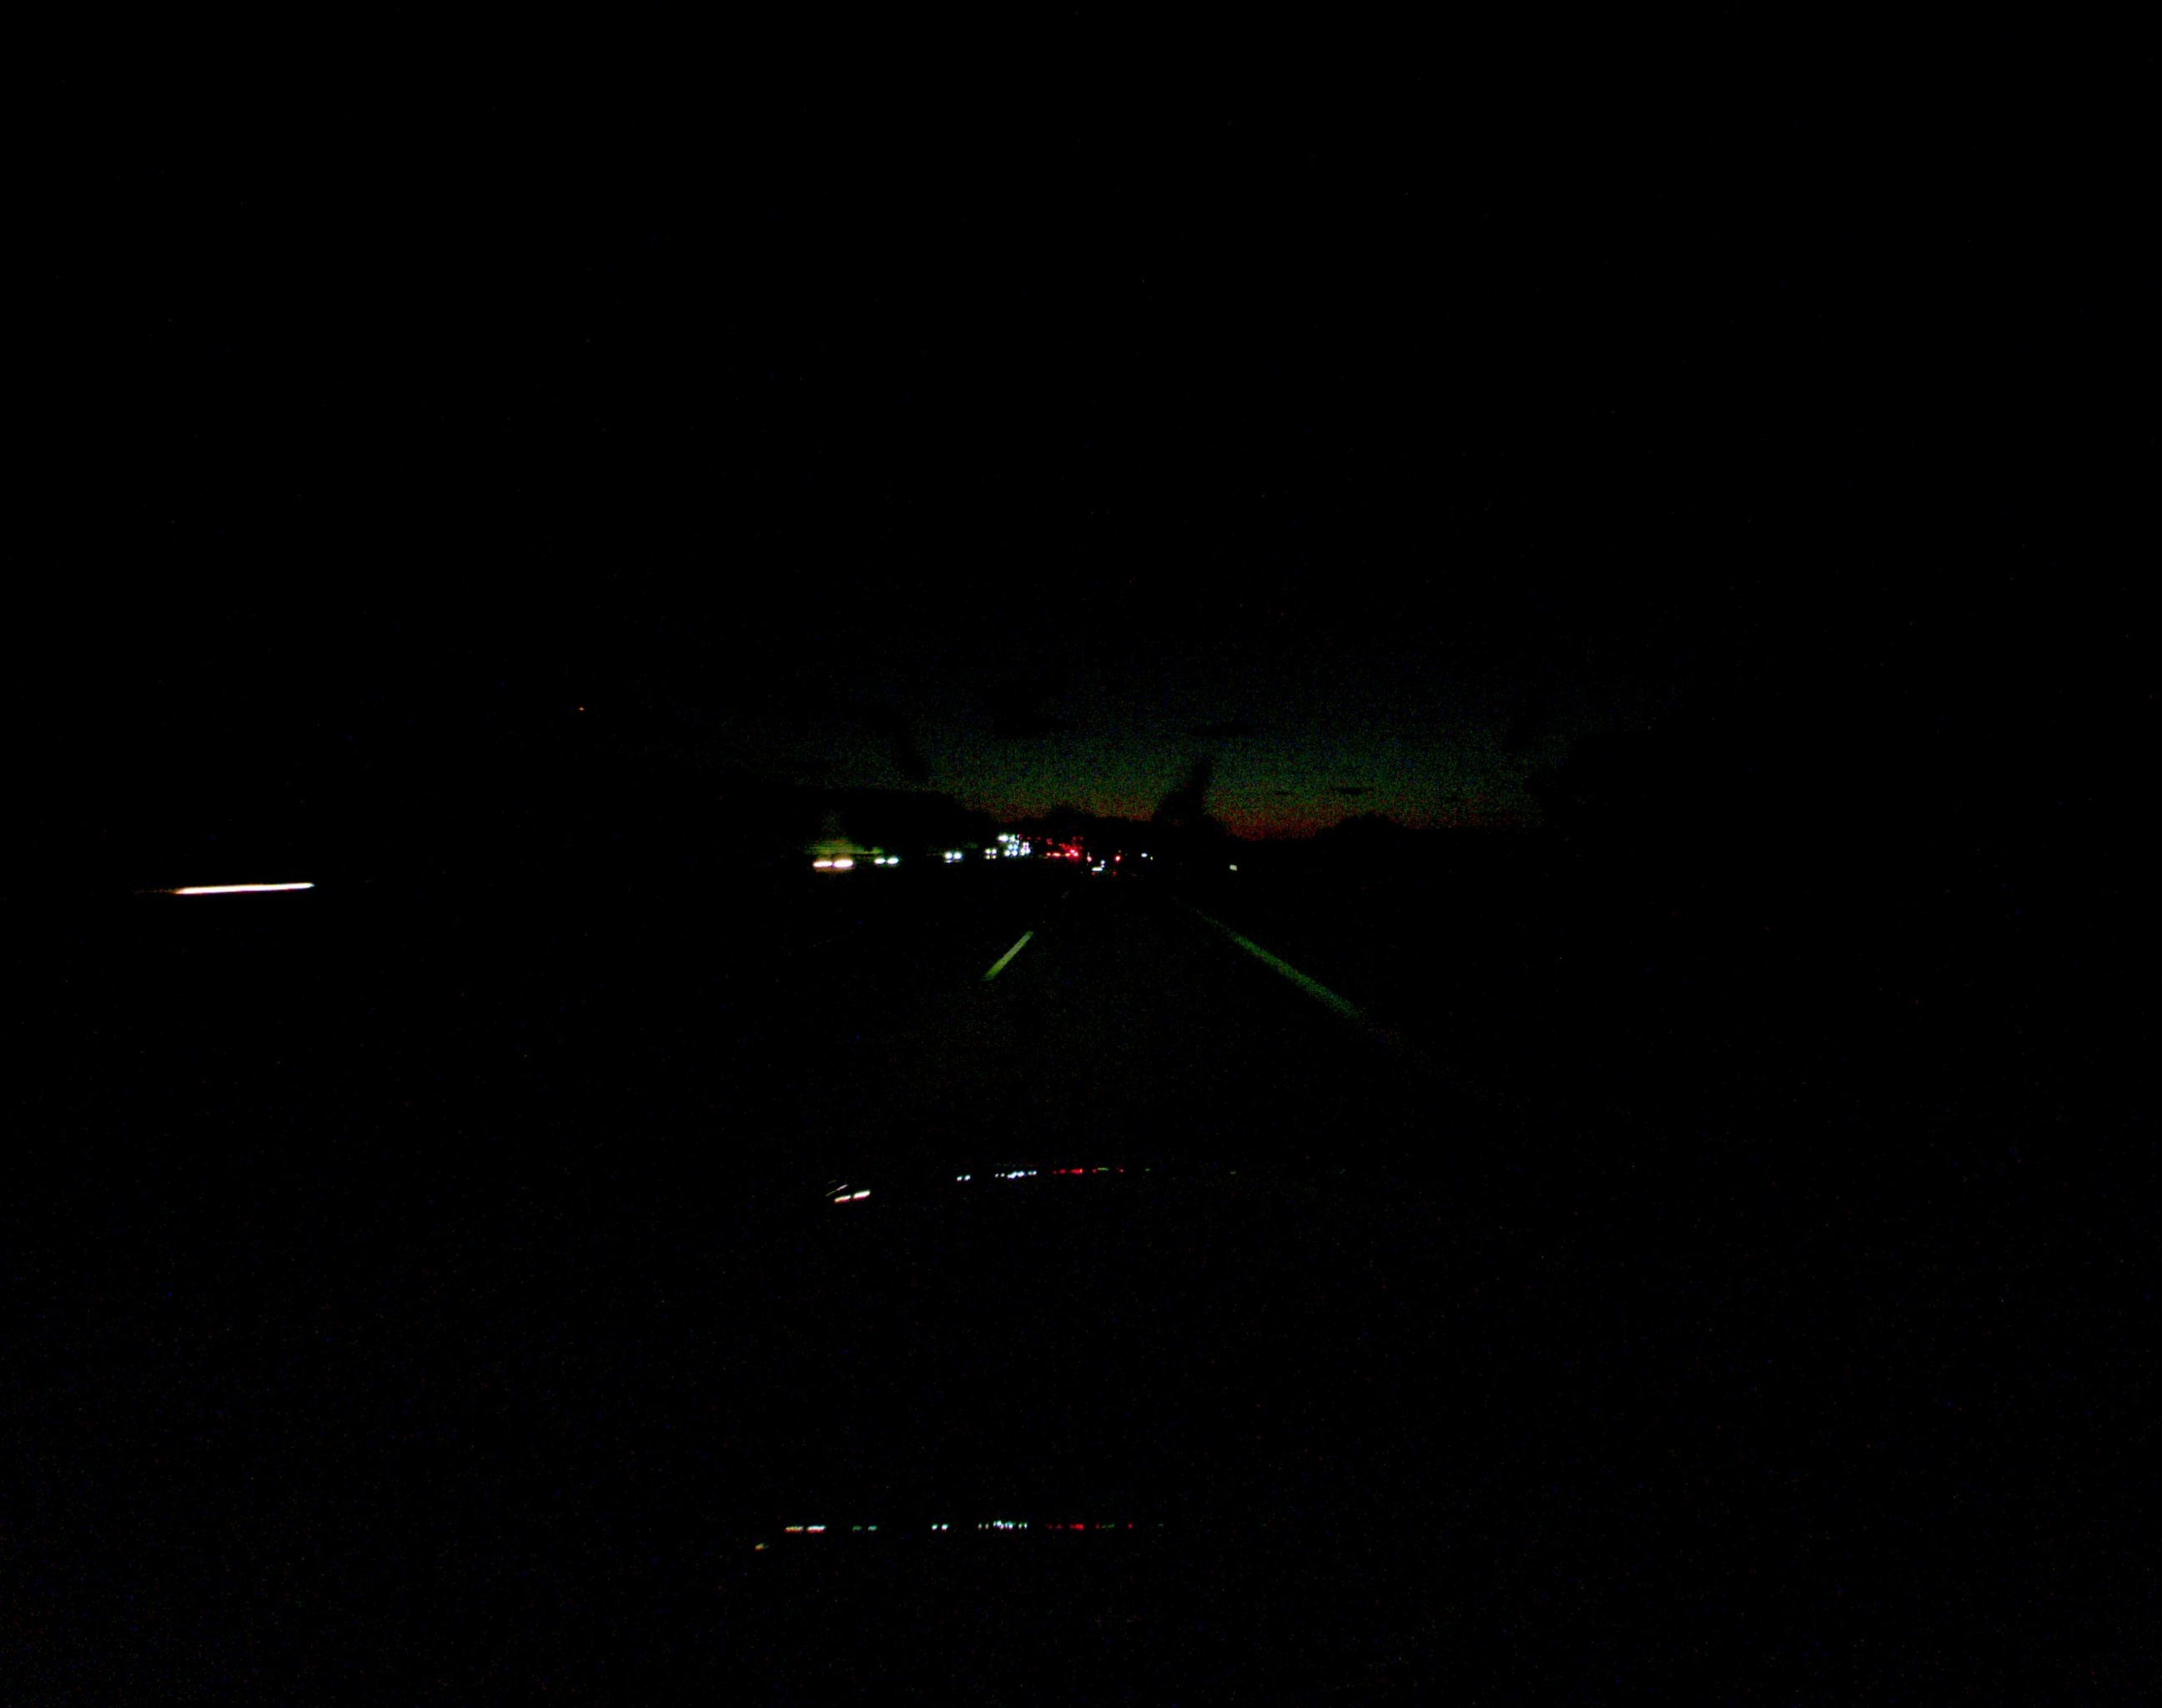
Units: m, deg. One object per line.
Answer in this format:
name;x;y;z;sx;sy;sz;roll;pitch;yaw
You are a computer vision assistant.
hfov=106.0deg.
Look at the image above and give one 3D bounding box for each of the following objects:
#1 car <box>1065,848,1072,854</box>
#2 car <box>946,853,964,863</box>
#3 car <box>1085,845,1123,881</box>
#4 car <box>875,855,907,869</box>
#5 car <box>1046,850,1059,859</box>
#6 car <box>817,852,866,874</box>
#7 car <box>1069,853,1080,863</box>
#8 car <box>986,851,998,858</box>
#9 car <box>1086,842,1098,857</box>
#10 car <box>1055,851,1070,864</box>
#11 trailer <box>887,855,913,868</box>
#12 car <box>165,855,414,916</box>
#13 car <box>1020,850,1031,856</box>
car;-3.847;-0.905;249.335;1.988;1.794;3.998;0;-1;-1
car;-20.568;0.676;133.401;2.111;1.555;5.109;0;0;0
car;1.319;0.465;49.178;2.108;2.000;5.664;1;1;0
car;-20.782;0.834;89.082;2.176;1.481;5.243;1;0;1
car;-5.148;0.031;148.832;2.164;1.667;4.885;0;0;-1
car;-17.701;0.620;60.439;2.111;1.555;5.109;0;0;0
car;-1.215;0.720;154.953;1.986;1.794;4.002;0;-1;2
car;-20.936;0.107;192.249;2.047;1.781;5.941;0;0;0
car;1.948;-0.843;145.251;2.026;2.646;5.724;0;1;0
car;-2.602;0.470;113.101;1.988;1.816;3.997;0;-1;-2
trailer;-20.719;0.871;93.290;2.176;1.481;3.129;1;0;1
car;-22.338;0.805;23.391;2.111;1.555;5.109;0;0;0
car;-15.134;-0.292;221.919;2.551;1.555;5.109;0;0;0
